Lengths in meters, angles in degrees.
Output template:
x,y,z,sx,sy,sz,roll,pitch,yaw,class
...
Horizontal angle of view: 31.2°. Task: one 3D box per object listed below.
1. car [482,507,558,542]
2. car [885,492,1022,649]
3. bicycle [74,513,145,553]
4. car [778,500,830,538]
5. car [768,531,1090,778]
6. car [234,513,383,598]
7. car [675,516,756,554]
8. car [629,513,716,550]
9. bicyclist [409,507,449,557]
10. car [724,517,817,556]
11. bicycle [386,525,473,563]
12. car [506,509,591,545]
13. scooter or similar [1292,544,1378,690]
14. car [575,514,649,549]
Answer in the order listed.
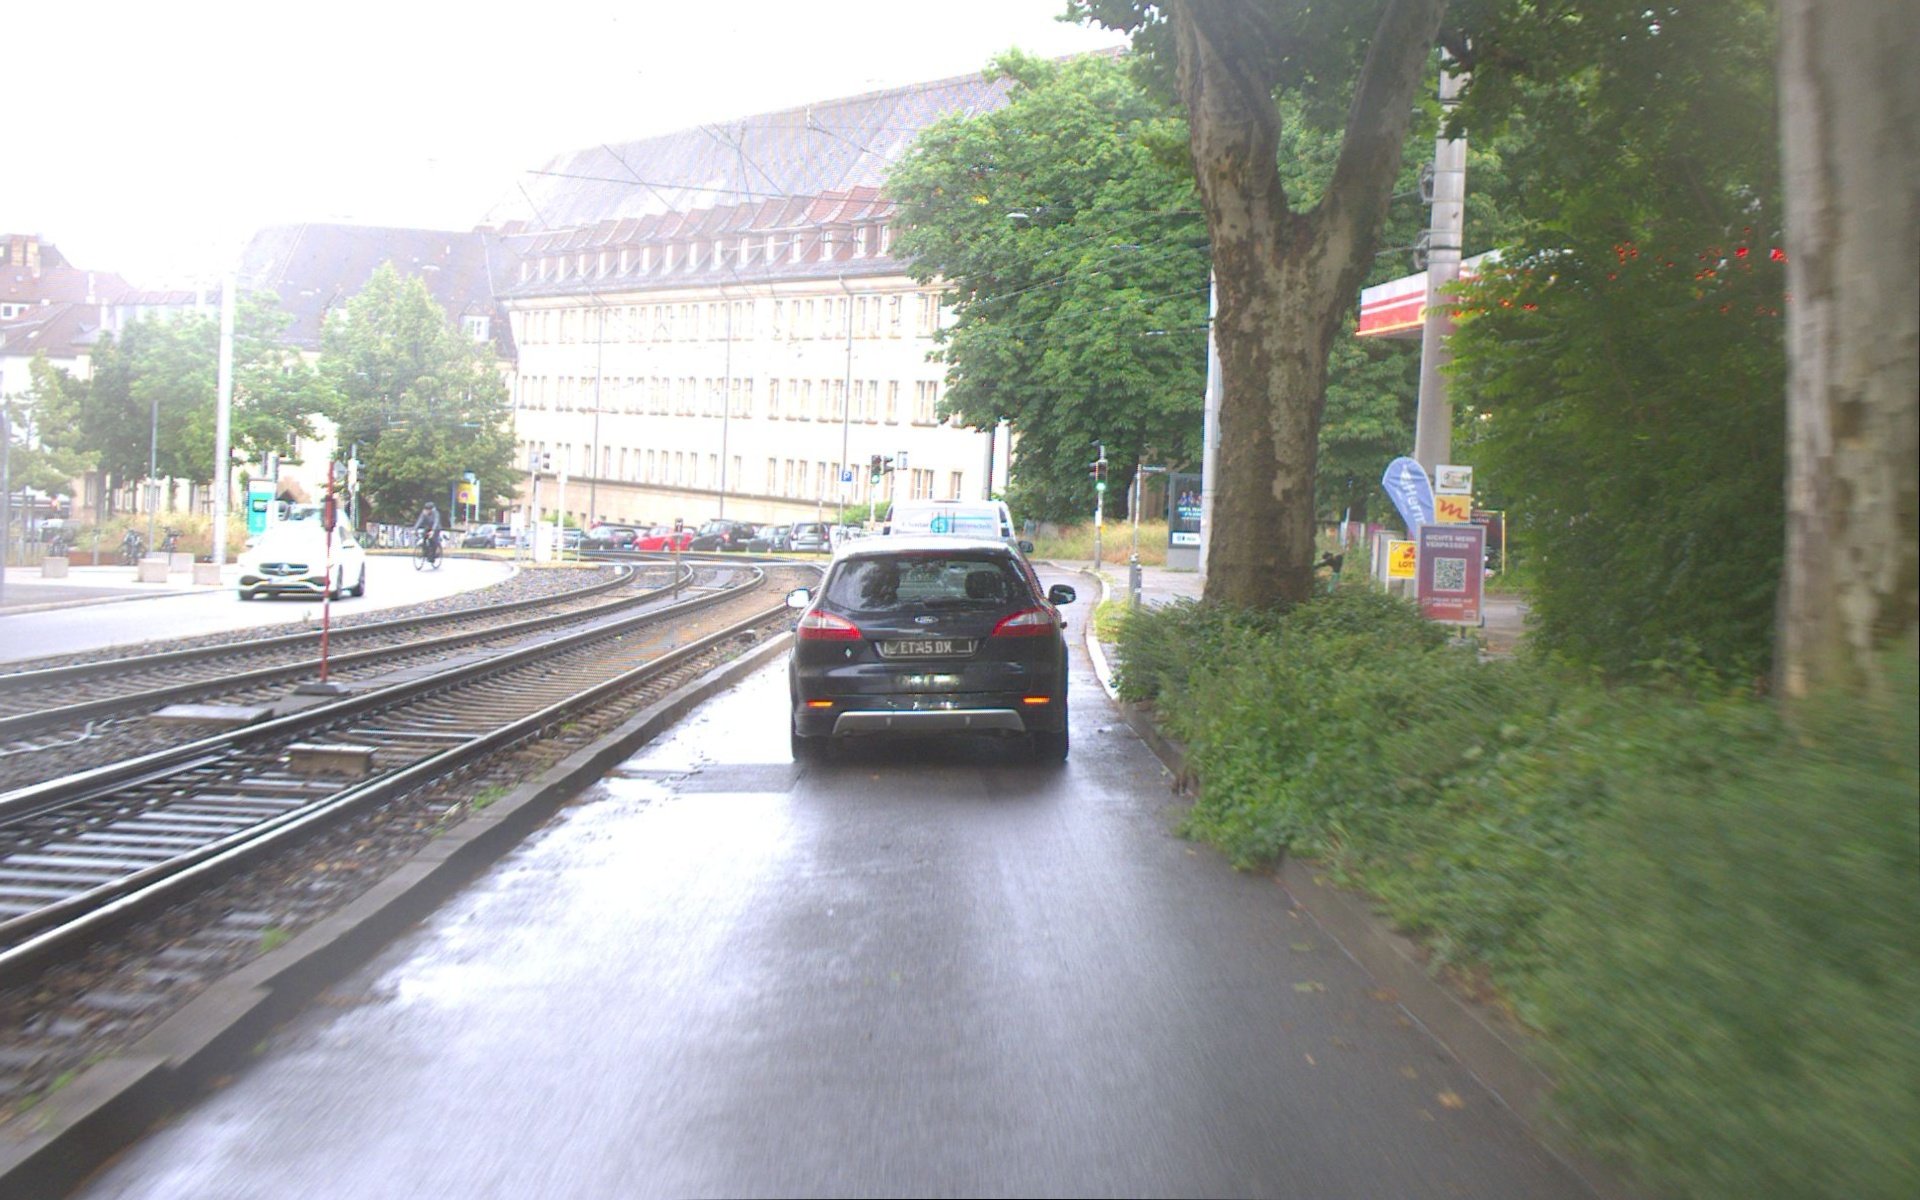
x,y,z,sx,sy,sz,roll,pitch,yaw,class
-21.018,-3.610,164.129,1.993,1.537,4.000,1,1,-33,car
-0.105,-0.432,47.053,1.740,2.007,3.904,2,1,-1,car
-23.687,-1.864,95.785,1.813,1.057,0.570,2,1,-3,bicycle
-6.318,-3.276,138.977,1.657,1.471,3.645,1,1,-9,car
-0.247,0.296,23.475,1.933,1.448,4.318,3,1,-2,car
-12.082,-0.847,64.027,1.799,1.477,4.840,2,1,0,car
-10.501,-2.791,147.520,1.581,1.537,4.000,1,1,-35,car
-12.729,-3.044,152.226,1.994,1.537,3.999,1,1,-37,car
-13.886,-1.786,89.888,0.772,1.309,0.791,-1,2,-37,bicyclist
-7.865,-2.641,142.670,1.994,1.537,4.000,1,1,-35,car
-13.860,-1.463,89.898,2.099,0.940,0.815,0,2,-38,bicycle
-19.228,-3.420,160.515,1.994,1.537,3.998,1,2,-42,car
3.266,0.154,29.861,0.374,1.230,1.369,1,-1,21,scooter or similar
-15.870,-3.141,156.622,1.993,1.537,4.001,-1,2,-28,car
